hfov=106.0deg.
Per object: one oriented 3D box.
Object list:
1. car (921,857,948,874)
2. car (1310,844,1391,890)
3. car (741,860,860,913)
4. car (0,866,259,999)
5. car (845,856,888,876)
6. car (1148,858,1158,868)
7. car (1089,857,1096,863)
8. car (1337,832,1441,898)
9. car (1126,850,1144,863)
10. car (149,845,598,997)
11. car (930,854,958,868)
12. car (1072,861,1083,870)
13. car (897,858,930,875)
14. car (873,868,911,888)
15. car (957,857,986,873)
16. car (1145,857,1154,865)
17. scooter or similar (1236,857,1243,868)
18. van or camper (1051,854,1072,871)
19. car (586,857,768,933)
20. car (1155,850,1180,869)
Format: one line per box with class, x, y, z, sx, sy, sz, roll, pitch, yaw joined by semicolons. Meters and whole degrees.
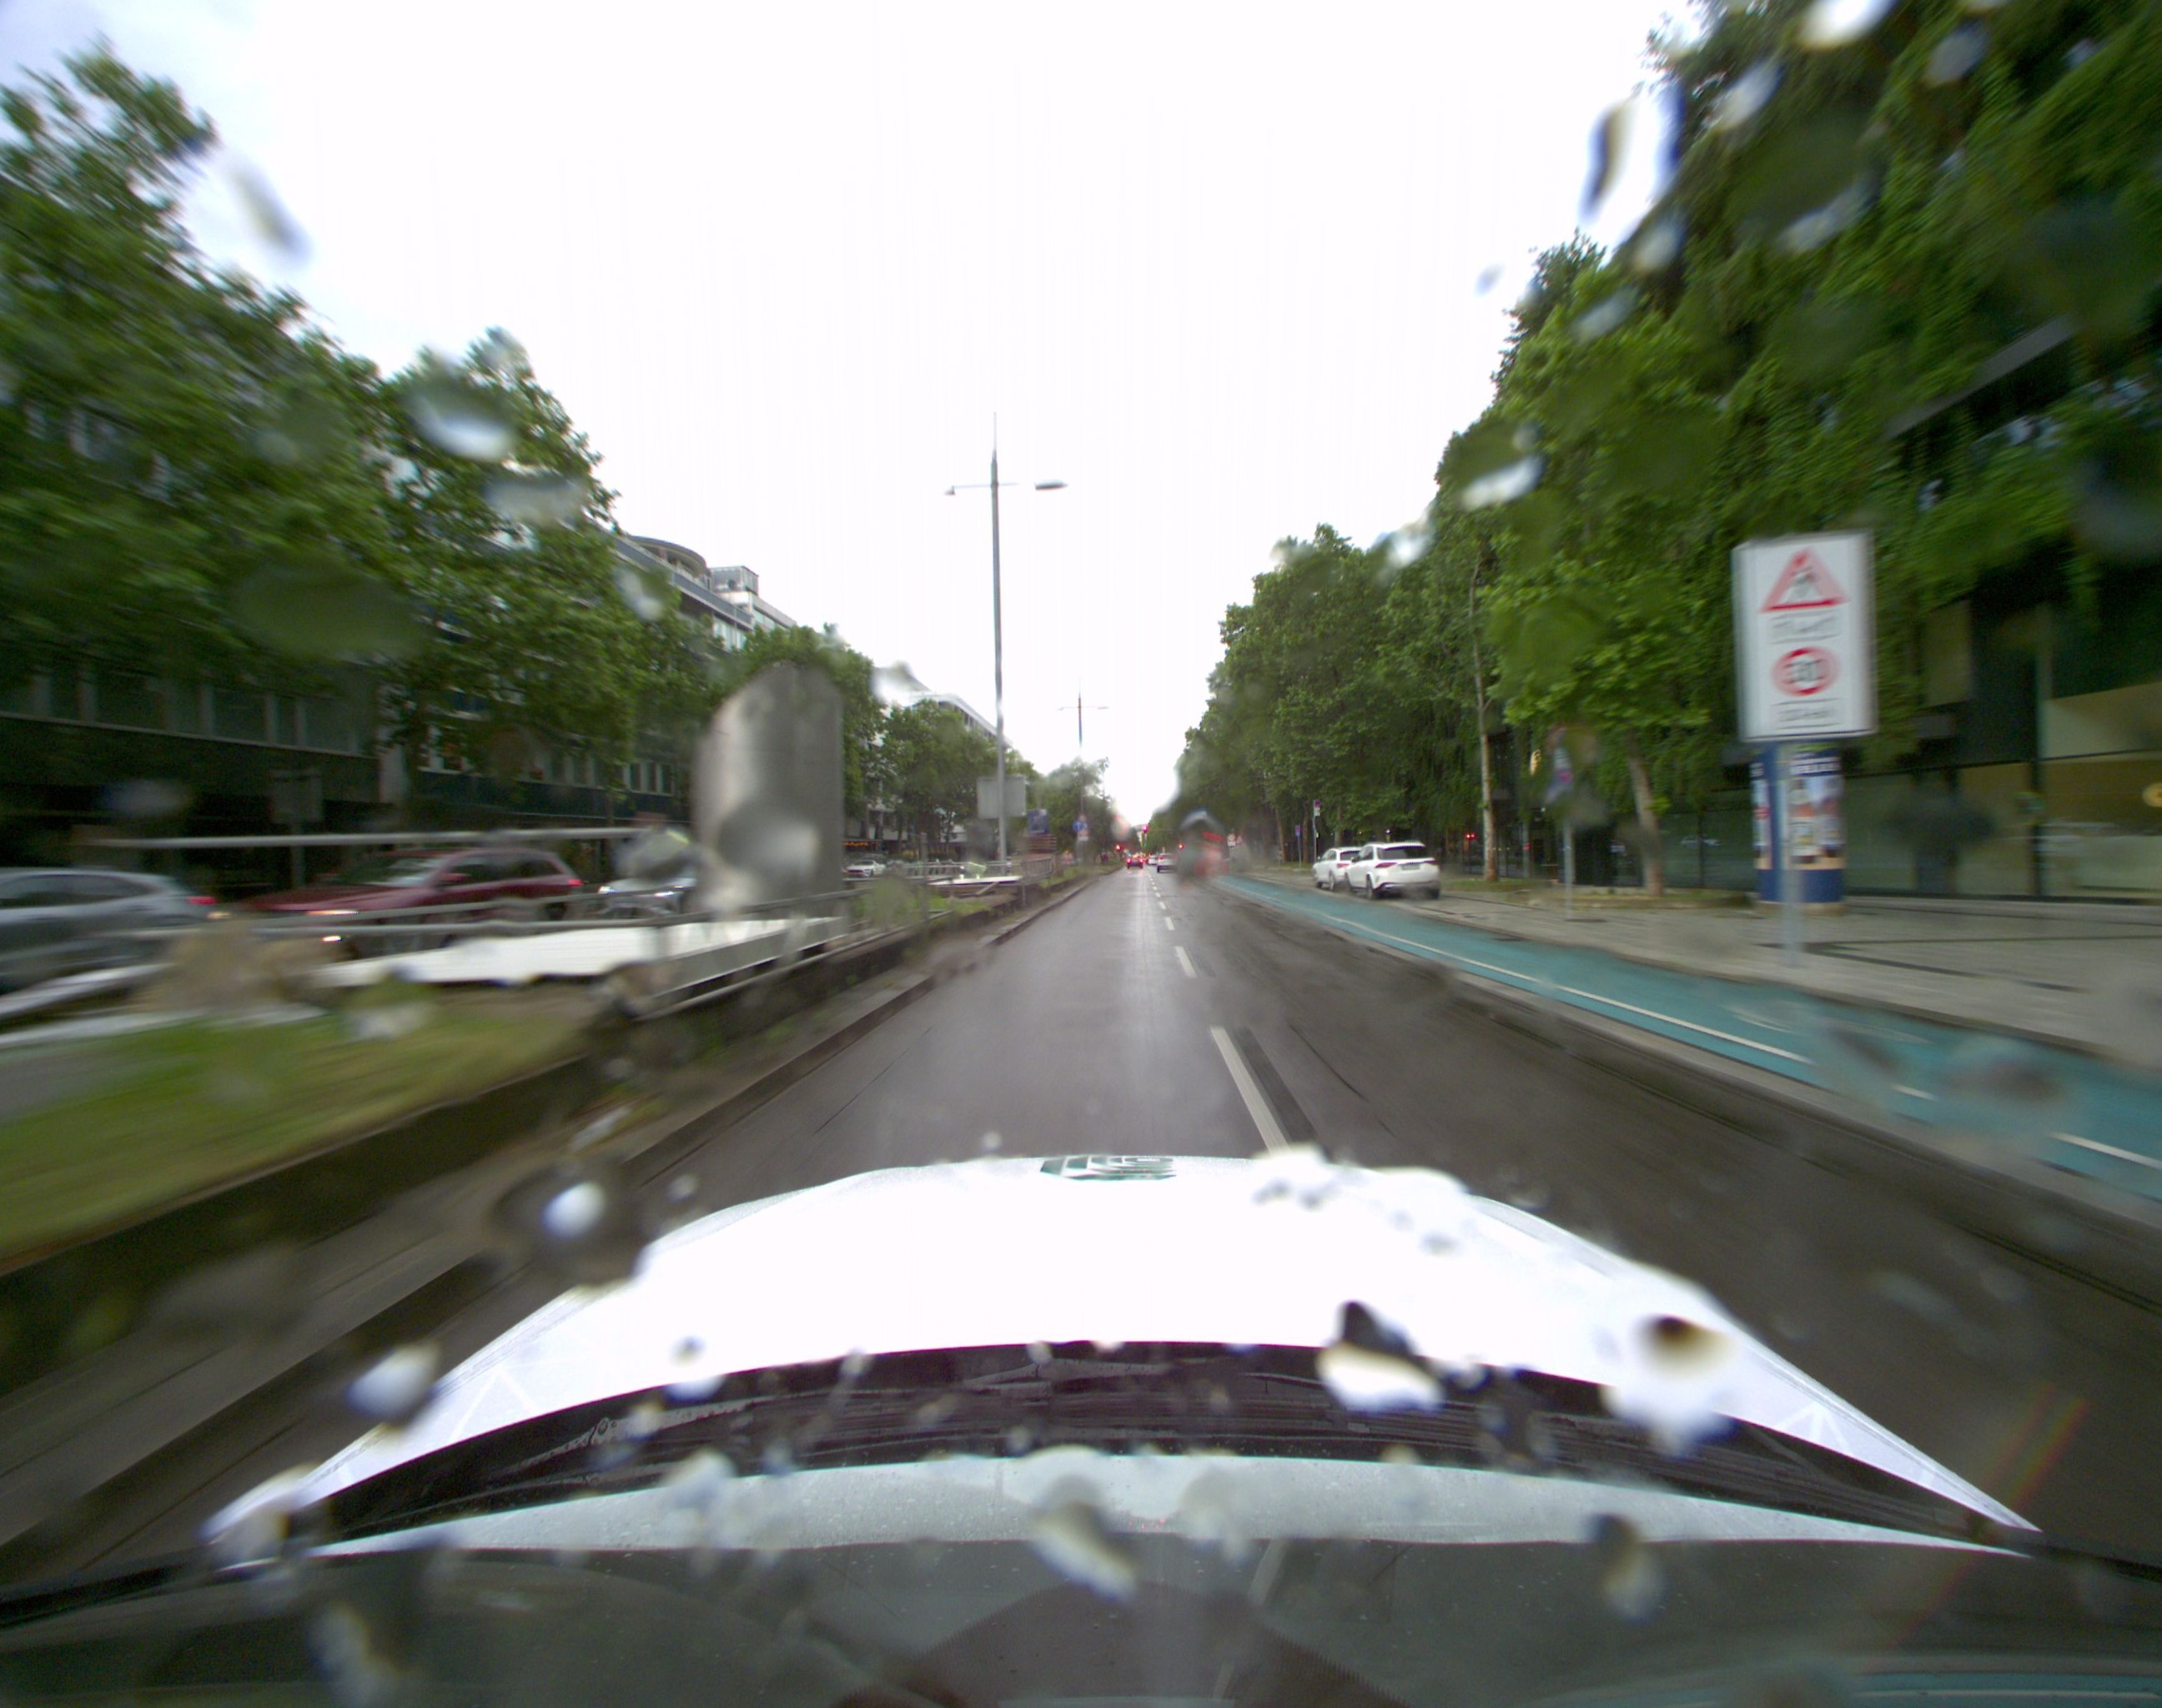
car;-13.951;1.074;77.628;1.685;1.468;3.463;-1;0;4
car;10.292;0.458;31.478;1.835;1.632;4.791;-1;0;4
car;-9.096;0.994;26.854;1.904;1.552;4.550;-1;0;7
car;-13.364;0.946;9.981;1.711;1.491;4.575;-1;0;4
car;-15.618;0.847;59.499;1.552;1.353;4.688;0;0;4
car;12.225;1.533;137.753;1.613;1.666;4.004;-1;0;4
car;3.042;1.553;213.408;1.607;1.394;3.601;-1;0;4
car;9.687;0.321;26.056;1.834;1.838;5.102;-2;0;6
car;6.267;0.263;94.443;1.910;1.491;4.004;-1;0;4
car;-9.808;0.778;12.069;1.826;1.766;5.117;-1;0;6
car;-13.788;0.683;82.146;1.685;1.409;4.909;-1;0;4
car;-0.673;2.182;154.133;1.835;1.429;3.647;-1;1;4
car;-14.592;1.078;71.030;1.685;1.409;4.461;-1;0;4
car;-14.906;1.874;64.438;1.829;1.508;4.004;-1;0;4
car;-10.264;1.034;76.913;1.960;1.409;4.957;-1;0;1
car;12.670;1.337;150.362;1.613;1.374;4.004;-1;0;4
scooter or similar;18.229;0.932;93.600;0.377;1.228;1.086;-1;-1;40
van or camper;-2.329;0.987;97.393;1.985;1.913;5.256;-1;0;4
car;-9.613;0.899;19.924;1.727;1.573;4.837;-1;0;4
car;7.631;0.478;72.329;1.985;1.655;4.893;-1;0;4
